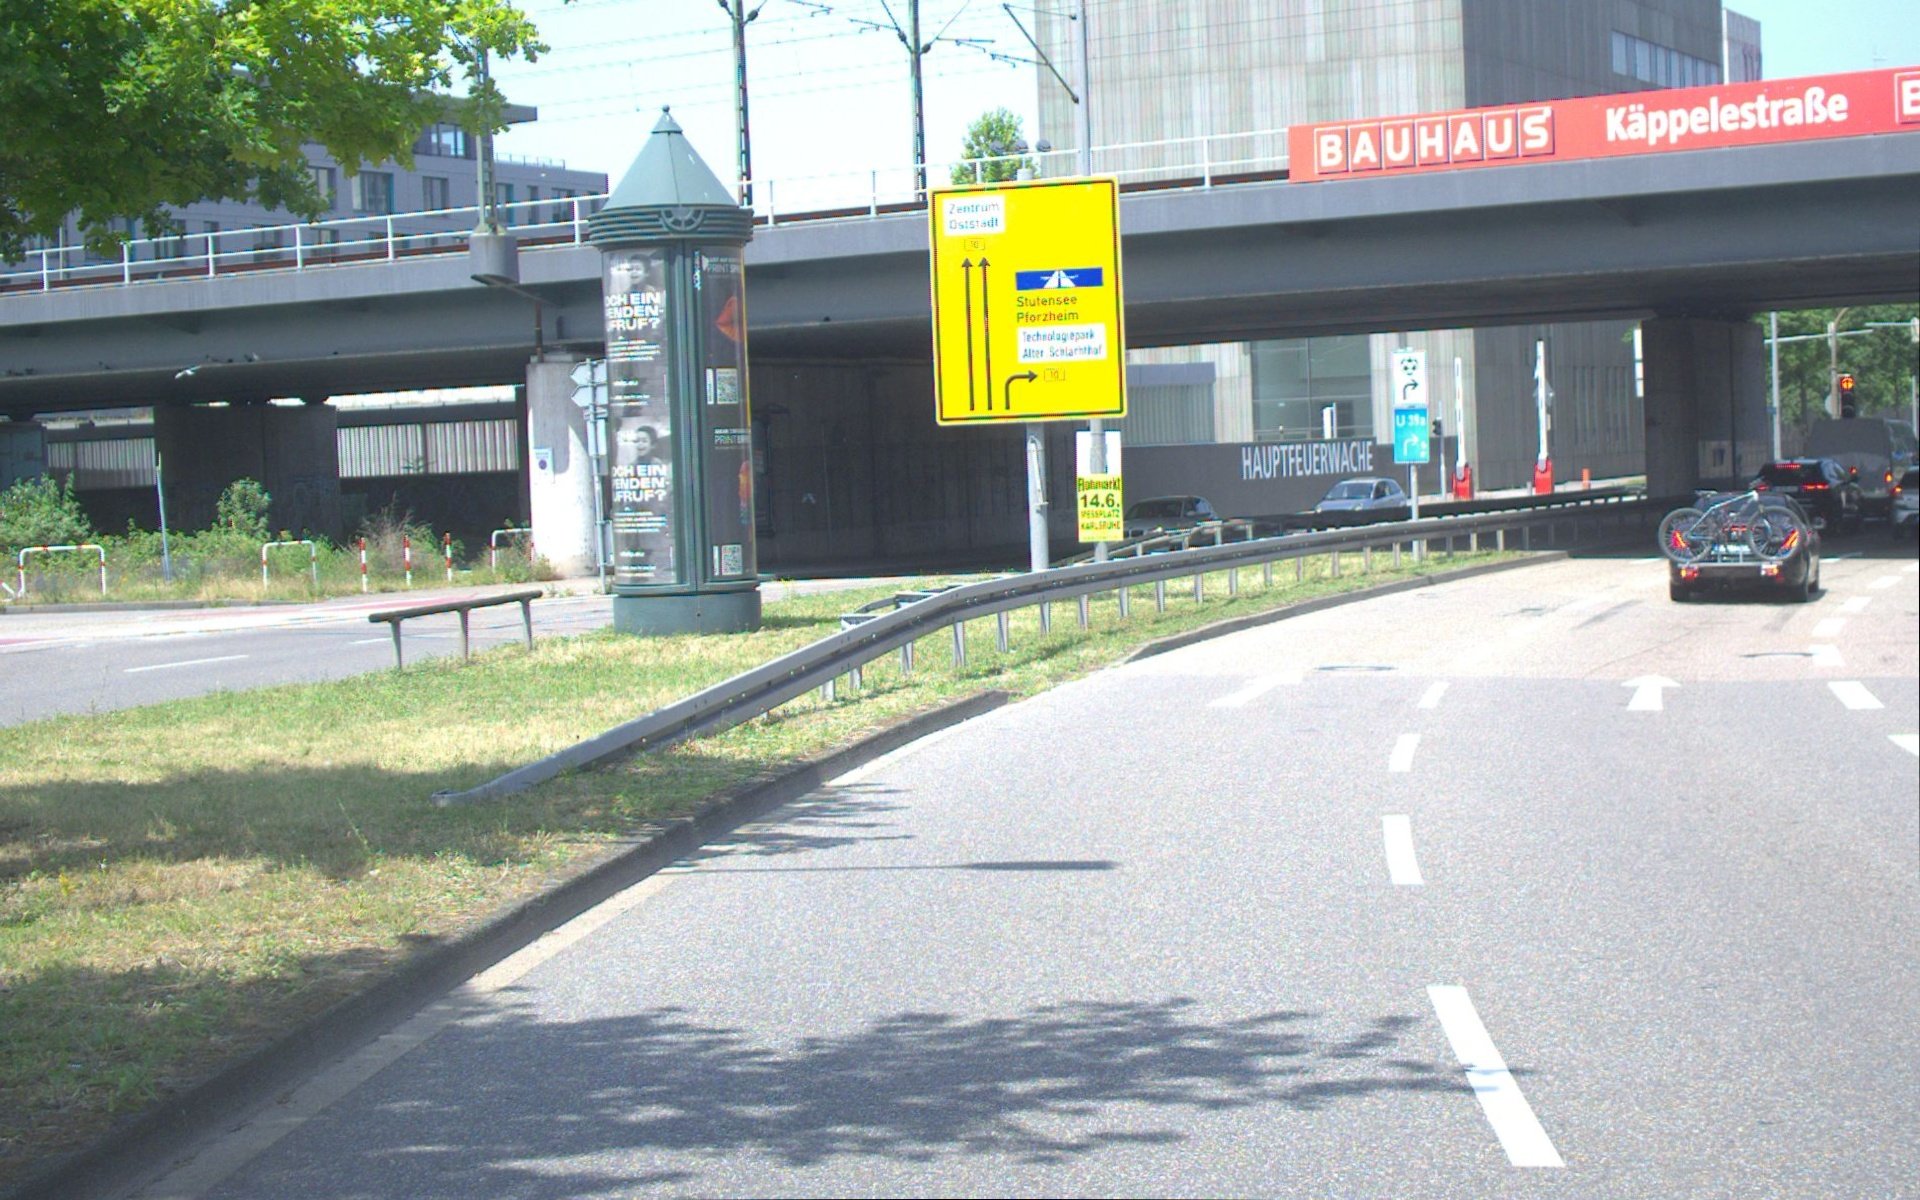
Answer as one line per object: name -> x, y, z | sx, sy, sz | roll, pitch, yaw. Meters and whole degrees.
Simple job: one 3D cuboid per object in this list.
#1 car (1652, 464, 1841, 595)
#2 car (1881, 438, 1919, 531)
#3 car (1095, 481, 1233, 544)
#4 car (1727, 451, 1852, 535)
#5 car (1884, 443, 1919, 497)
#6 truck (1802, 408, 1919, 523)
car -> 10.352, -0.952, 45.038 | 1.958, 1.628, 4.276 | 0, 2, 19
car -> 20.502, -2.406, 71.797 | 1.842, 1.883, 3.995 | 0, 2, 24
car -> 4.611, -1.971, 77.205 | 1.656, 1.375, 4.212 | 0, 2, 25
car -> 17.810, -2.290, 73.724 | 1.943, 1.715, 3.995 | 0, 2, 23
car -> 37.575, -5.093, 134.267 | 1.996, 2.007, 3.994 | -3, 1, 28
truck -> 21.186, -3.126, 80.188 | 2.070, 2.529, 3.994 | -2, 1, 27
